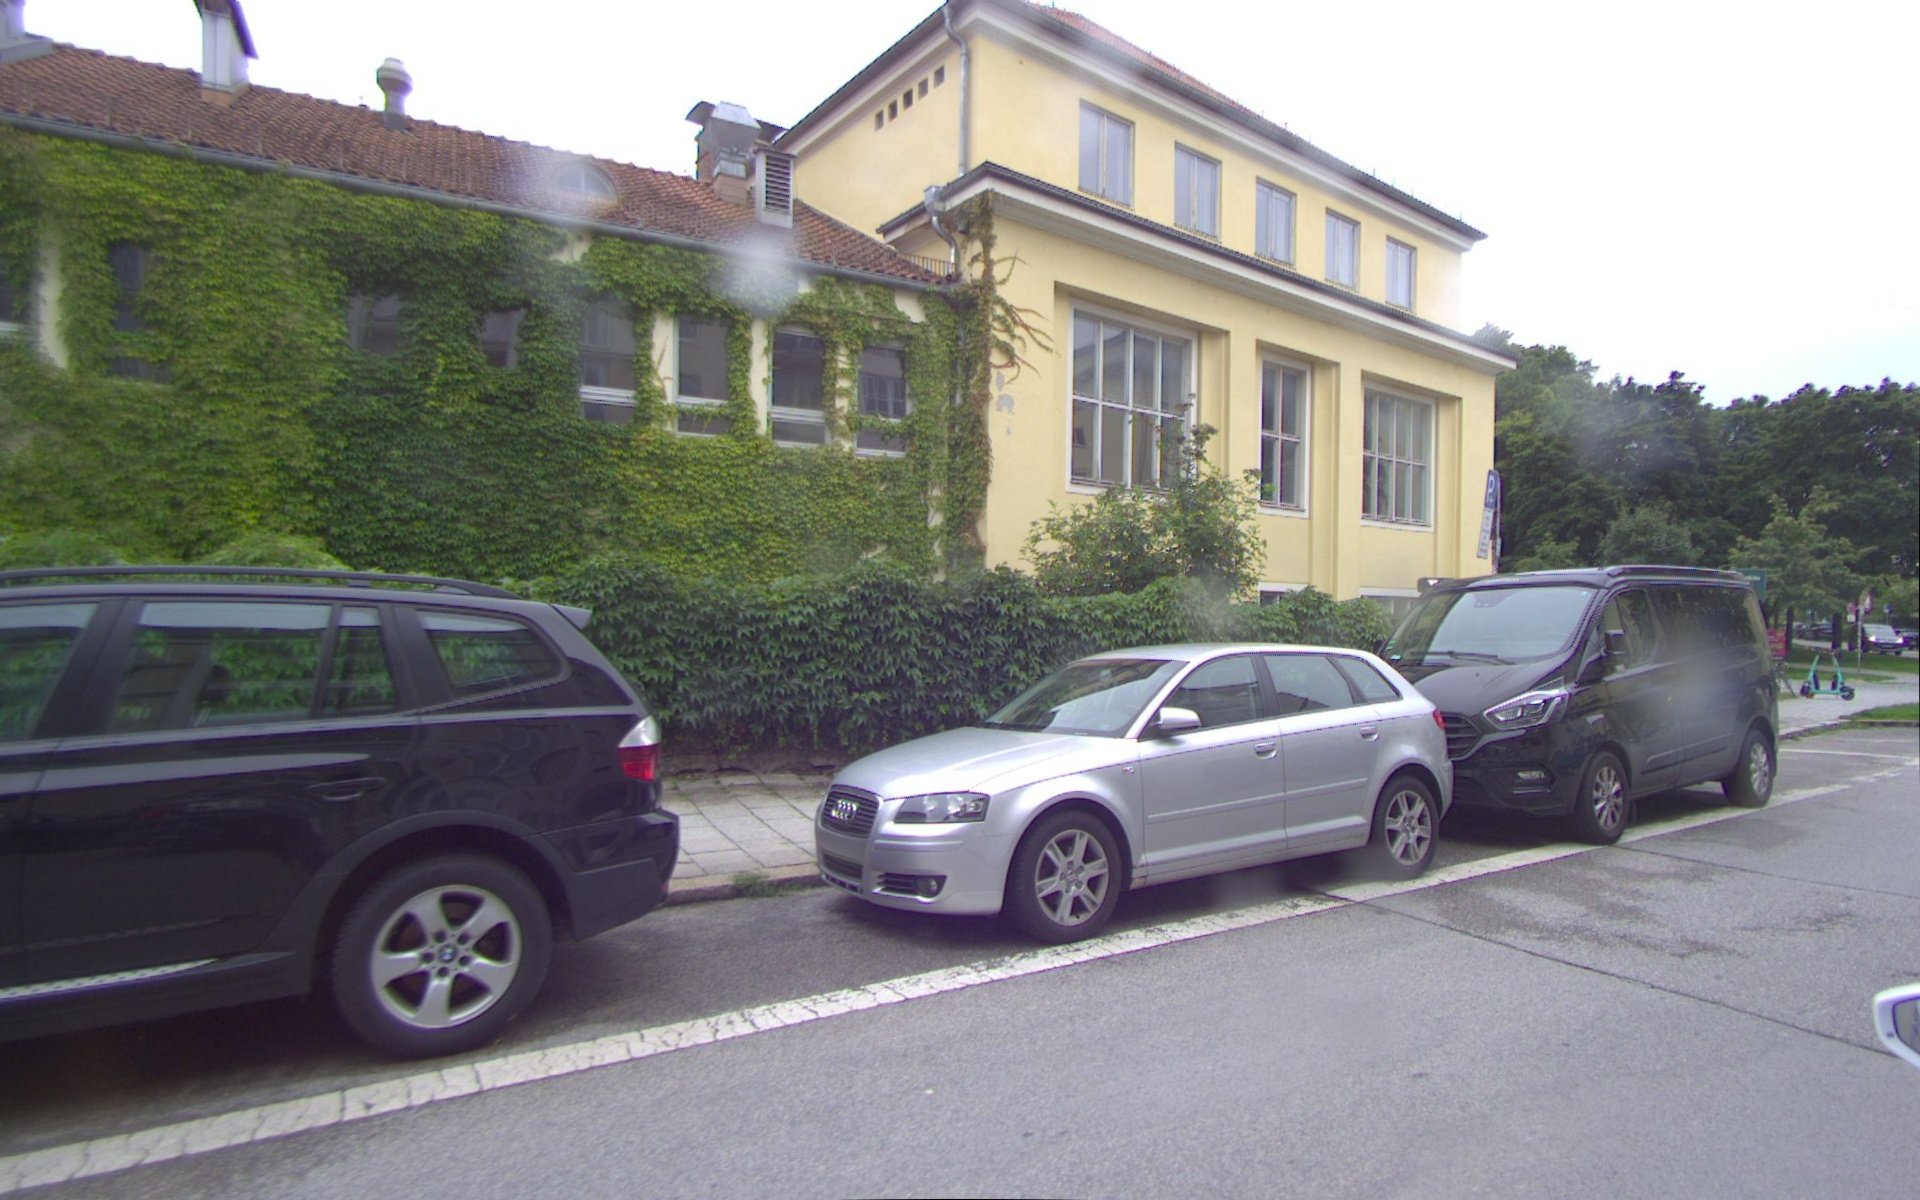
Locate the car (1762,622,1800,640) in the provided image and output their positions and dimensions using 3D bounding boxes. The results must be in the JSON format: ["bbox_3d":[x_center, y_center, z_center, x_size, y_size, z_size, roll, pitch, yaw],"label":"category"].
[{"bbox_3d":[79.681,3.015,97.562,1.963,1.627,3.996,1,-1,26],"label":"car"}]

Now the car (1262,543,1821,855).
[{"bbox_3d":[5.235,0.762,8.775,5.294,1.989,2.061,2,-5,-34],"label":"car"}]

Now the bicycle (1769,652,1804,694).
[{"bbox_3d":[20.678,1.818,25.135,0.534,0.987,1.152,1,-1,33],"label":"bicycle"}]

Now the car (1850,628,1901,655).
[{"bbox_3d":[55.689,2.483,61.166,1.890,1.490,3.985,1,0,37],"label":"car"}]

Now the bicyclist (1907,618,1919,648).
[{"bbox_3d":[49.869,1.689,52.113,0.731,1.541,0.946,0,-1,18],"label":"bicyclist"}]

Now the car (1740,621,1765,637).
[{"bbox_3d":[87.354,3.182,110.759,1.967,1.627,3.986,1,-1,36],"label":"car"}]

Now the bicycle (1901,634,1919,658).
[{"bbox_3d":[49.863,2.378,52.097,0.731,1.231,2.145,0,-1,18],"label":"bicycle"}]

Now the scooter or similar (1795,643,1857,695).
[{"bbox_3d":[21.409,1.683,24.843,0.341,1.204,1.112,1,0,-26],"label":"scooter or similar"}]

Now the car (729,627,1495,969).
[{"bbox_3d":[1.038,0.918,6.029,4.447,1.411,1.687,1,-5,-30],"label":"car"}]

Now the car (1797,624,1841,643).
[{"bbox_3d":[74.700,2.903,87.443,1.963,1.627,3.996,1,-1,26],"label":"car"}]

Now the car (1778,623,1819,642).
[{"bbox_3d":[77.198,2.959,92.495,1.963,1.627,3.996,1,-1,26],"label":"car"}]

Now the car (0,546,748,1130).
[{"bbox_3d":[-3.169,0.715,3.615,4.436,1.664,1.690,1,-3,-30],"label":"car"}]

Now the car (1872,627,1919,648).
[{"bbox_3d":[65.517,2.581,70.009,1.963,1.390,3.994,1,-1,28],"label":"car"}]

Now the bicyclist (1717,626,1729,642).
[{"bbox_3d":[73.114,3.214,96.284,0.783,1.490,0.892,1,0,29],"label":"bicyclist"}]

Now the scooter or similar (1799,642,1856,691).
[{"bbox_3d":[21.954,1.675,25.421,1.097,1.204,0.345,1,0,1],"label":"scooter or similar"}]

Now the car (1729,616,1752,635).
[{"bbox_3d":[92.130,3.005,118.614,1.967,2.188,3.986,1,-1,36],"label":"car"}]
